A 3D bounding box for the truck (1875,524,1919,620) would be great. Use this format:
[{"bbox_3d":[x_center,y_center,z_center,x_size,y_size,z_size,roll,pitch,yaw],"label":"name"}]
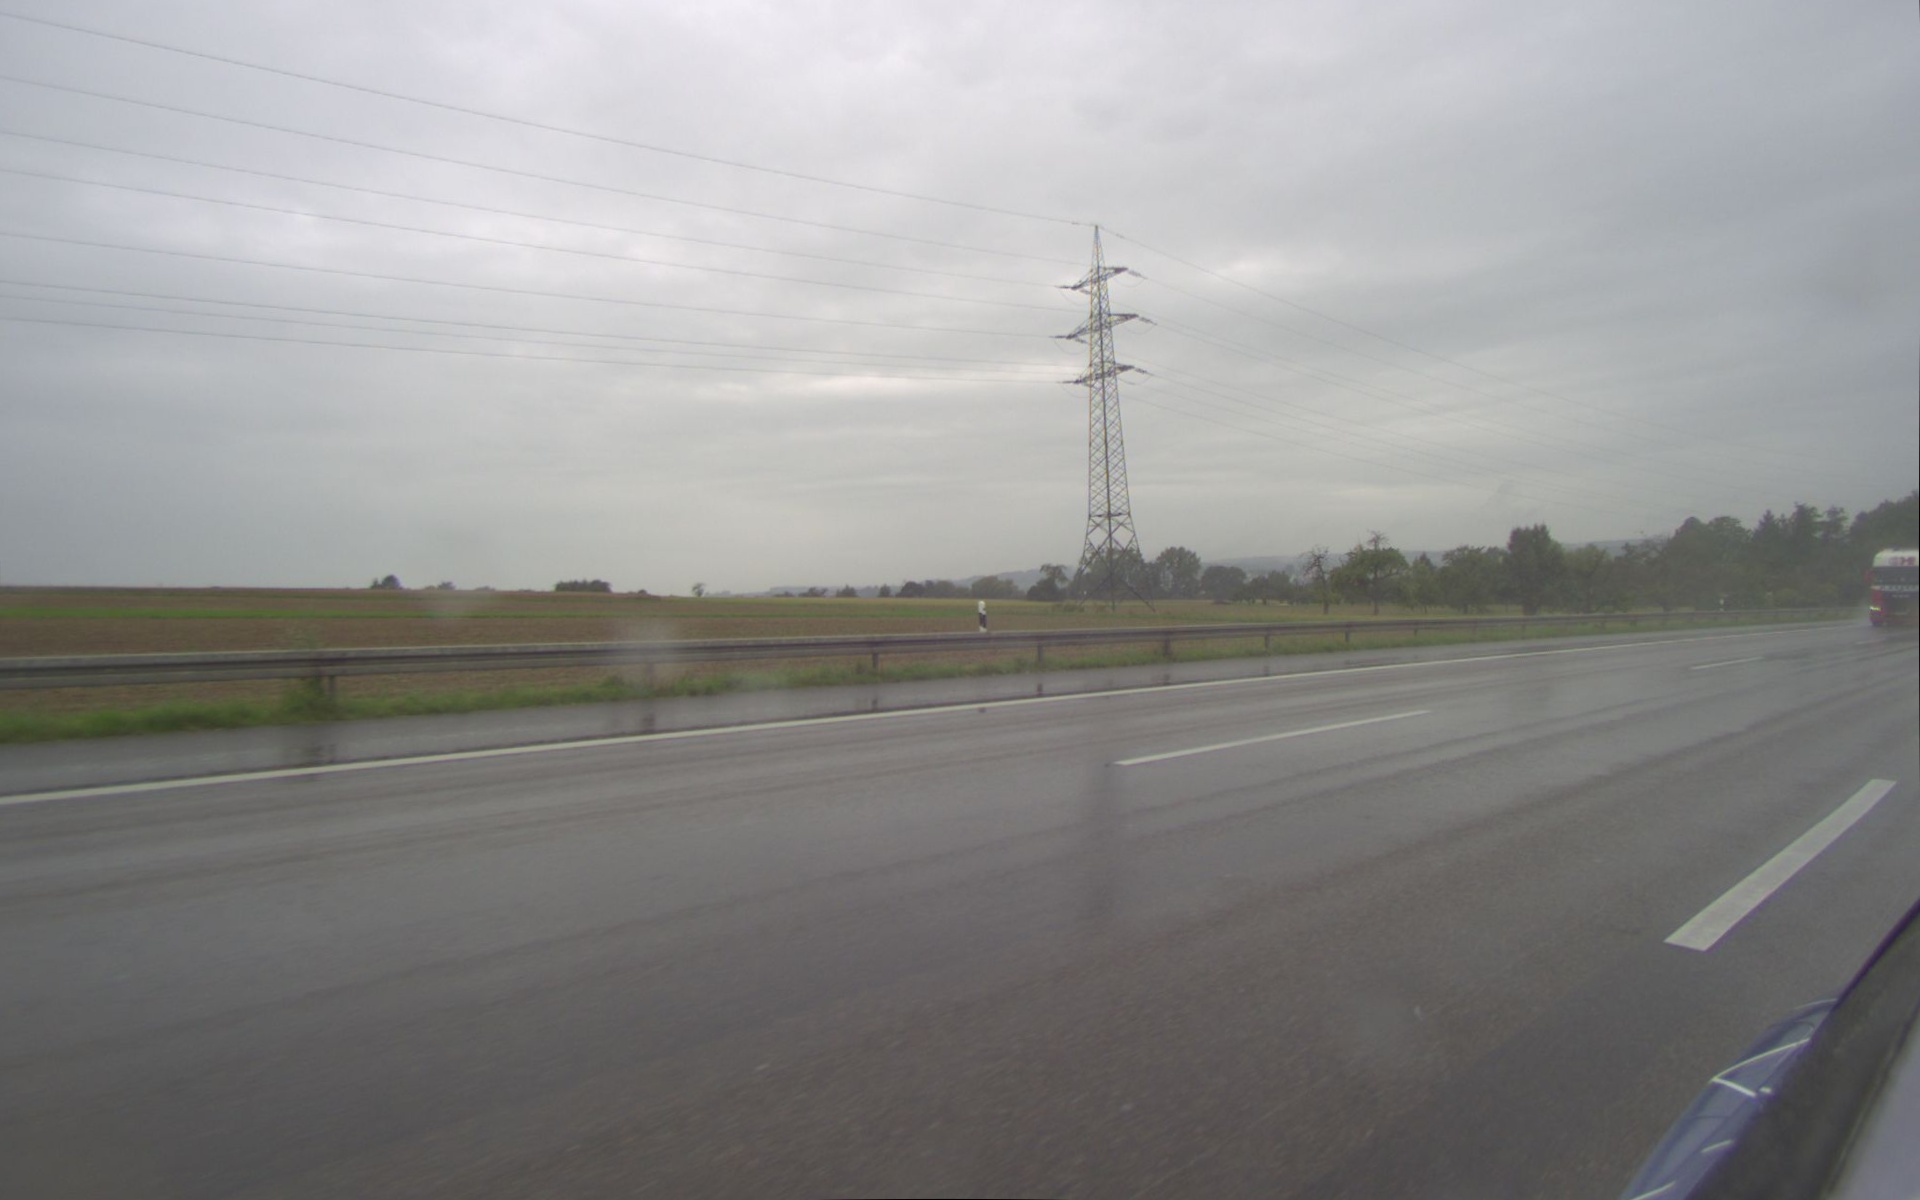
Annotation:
[{"bbox_3d":[51.503,-1.418,53.699,11.205,4.727,3.133,-1,1,-41],"label":"truck"}]
